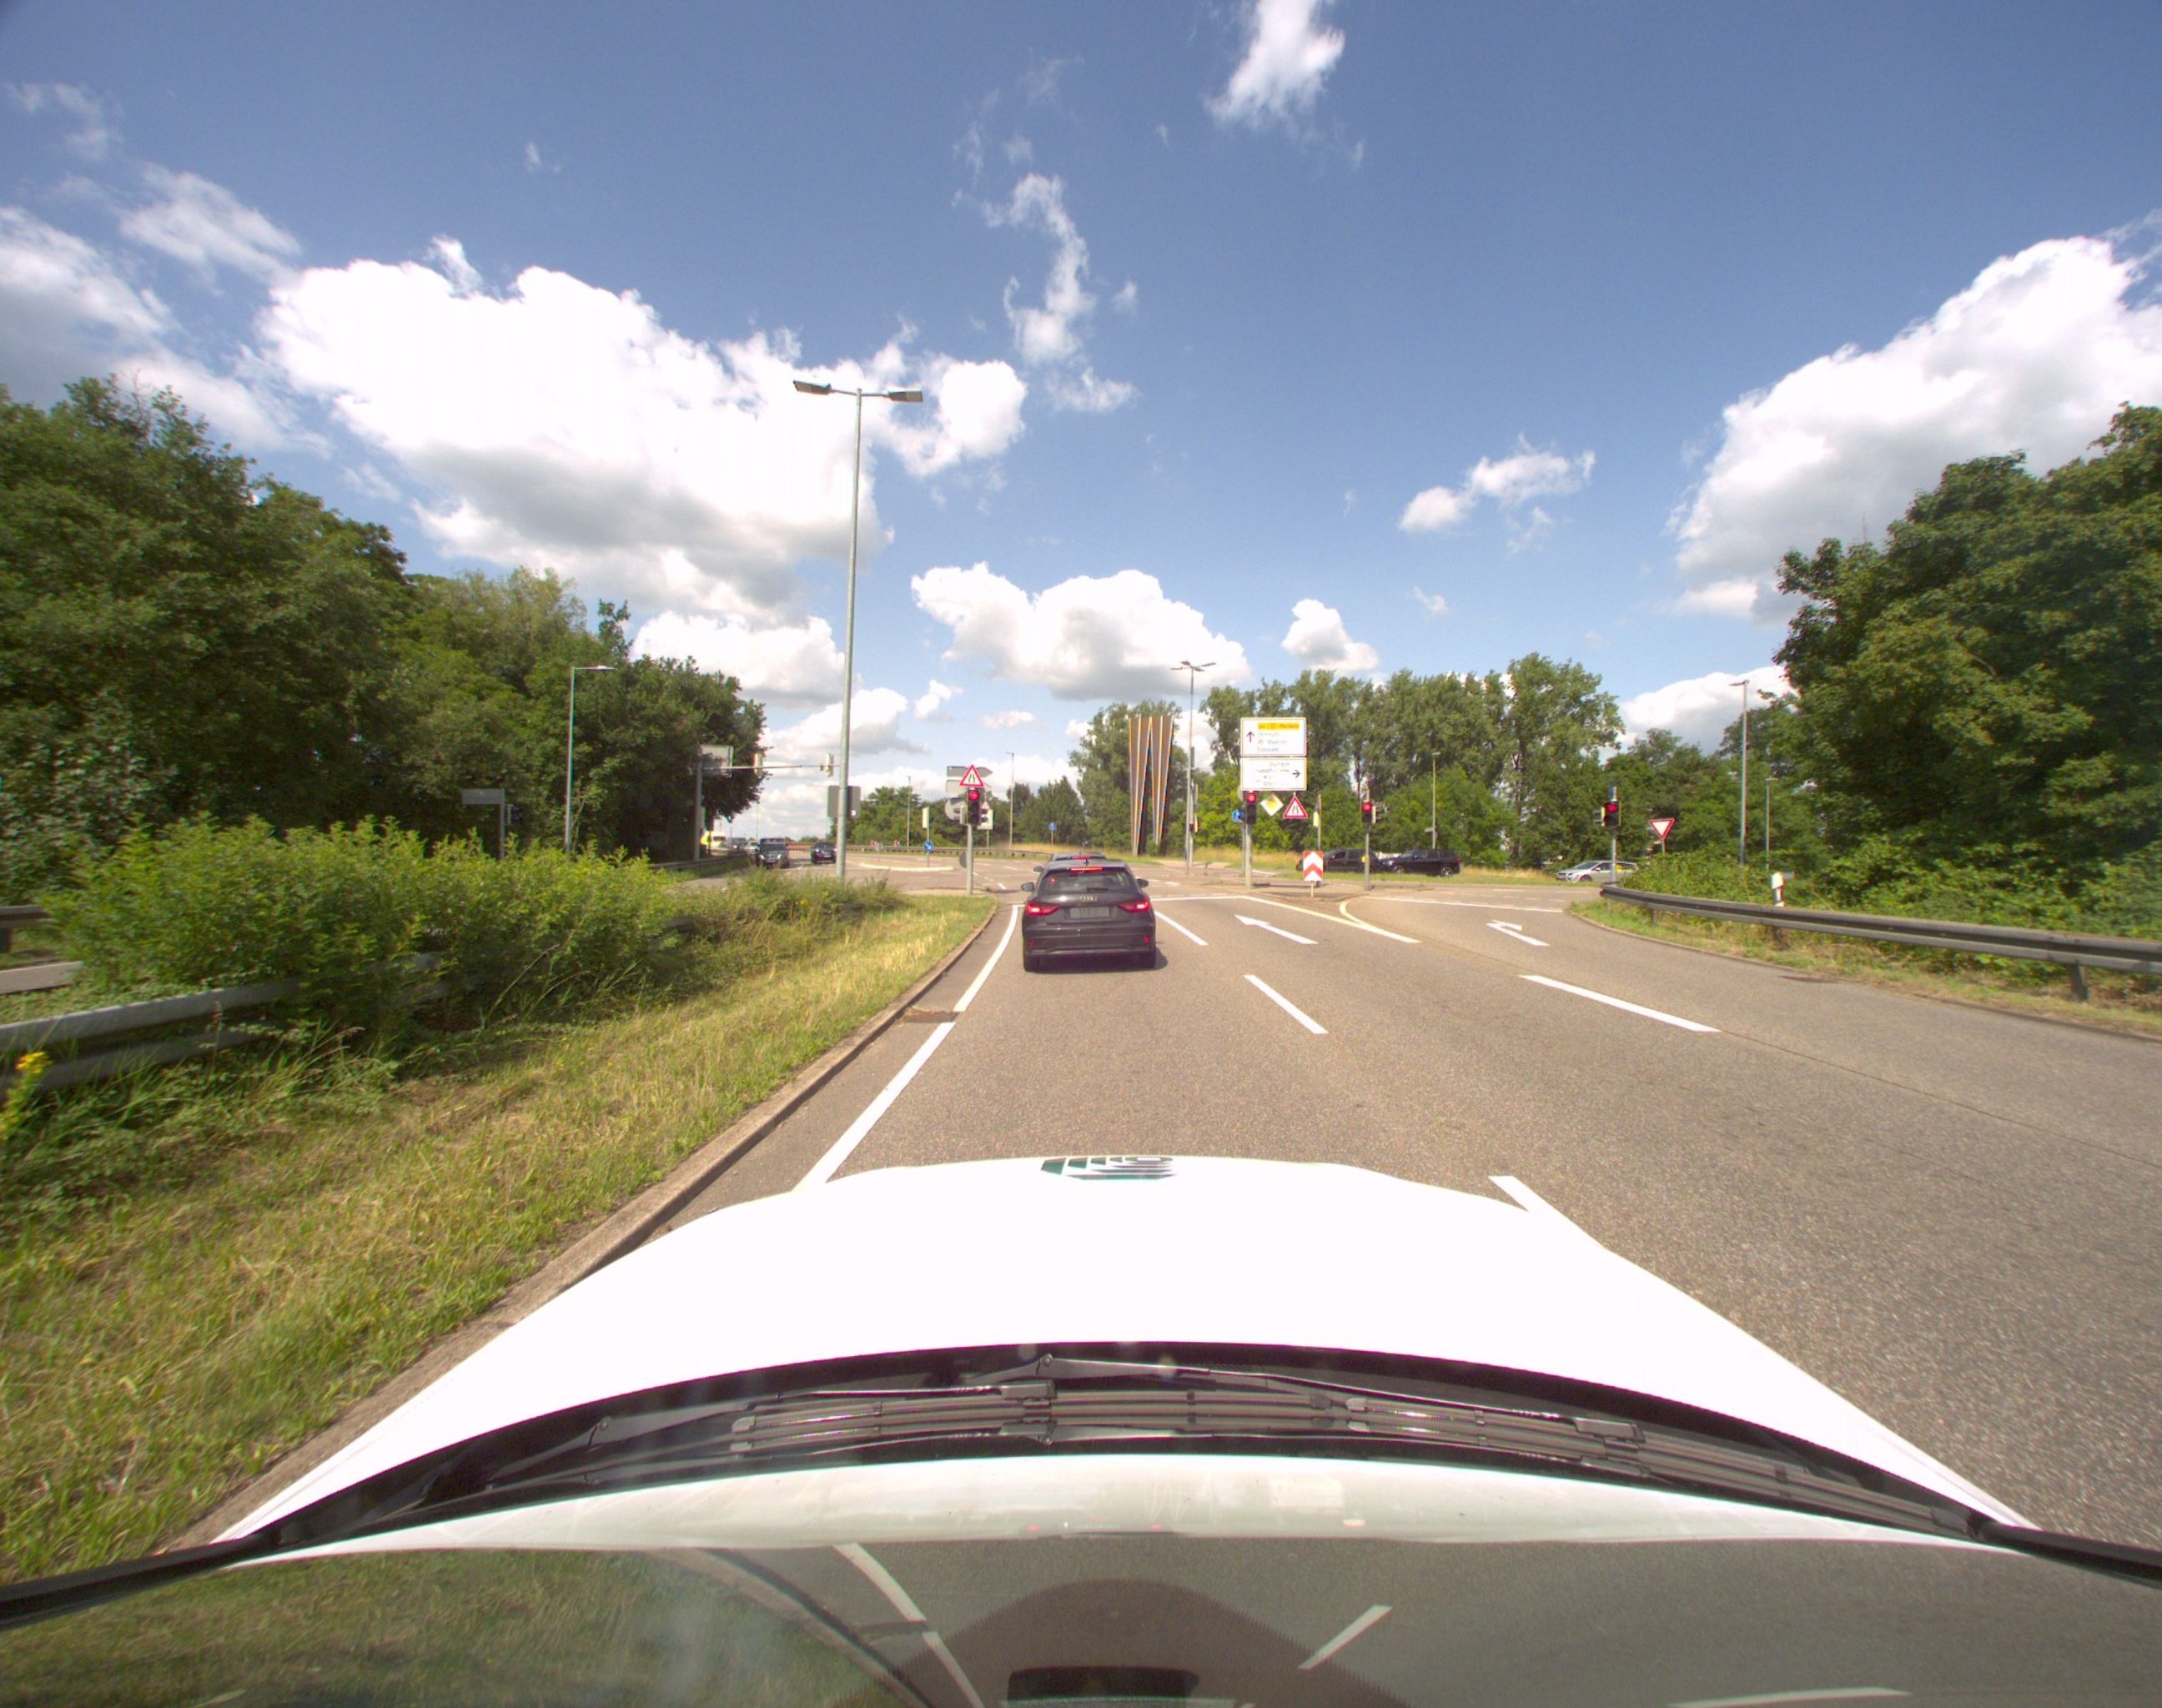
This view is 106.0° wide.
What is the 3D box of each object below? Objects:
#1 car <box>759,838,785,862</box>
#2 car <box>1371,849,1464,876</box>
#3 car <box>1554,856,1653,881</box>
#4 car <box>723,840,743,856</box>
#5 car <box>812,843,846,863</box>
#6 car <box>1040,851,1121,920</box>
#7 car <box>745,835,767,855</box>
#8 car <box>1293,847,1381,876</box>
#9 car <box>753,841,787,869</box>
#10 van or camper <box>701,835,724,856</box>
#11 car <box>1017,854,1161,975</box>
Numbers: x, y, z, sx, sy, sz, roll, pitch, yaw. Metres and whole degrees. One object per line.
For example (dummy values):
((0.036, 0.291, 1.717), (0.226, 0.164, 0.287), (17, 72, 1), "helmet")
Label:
((-24.262, -0.292, 63.979), (1.849, 1.802, 4.297), (0, 0, -20), "car")
((19.916, 0.467, 48.263), (4.832, 1.545, 1.736), (0, 0, -1), "car")
((28.745, 0.813, 44.879), (4.462, 1.320, 1.735), (0, 0, -3), "car")
((-40.377, -0.696, 94.535), (1.853, 1.705, 4.288), (0, 0, -27), "car")
((-18.151, -0.074, 58.491), (1.955, 1.418, 3.940), (0, 0, -23), "car")
((-0.111, 0.678, 19.700), (1.722, 1.423, 3.840), (-2, 0, -3), "car")
((-34.026, -0.929, 85.089), (1.852, 1.978, 4.290), (0, 0, -26), "car")
((13.854, 0.400, 44.177), (4.255, 1.545, 1.736), (0, 0, -1), "car")
((-19.061, 0.099, 50.024), (1.845, 1.618, 3.973), (0, -1, -20), "car")
((-48.502, -1.133, 107.228), (2.006, 2.683, 6.796), (0, 0, -31), "van or camper")
((0.123, 0.739, 11.947), (1.720, 1.404, 4.000), (-2, 0, 0), "car")
